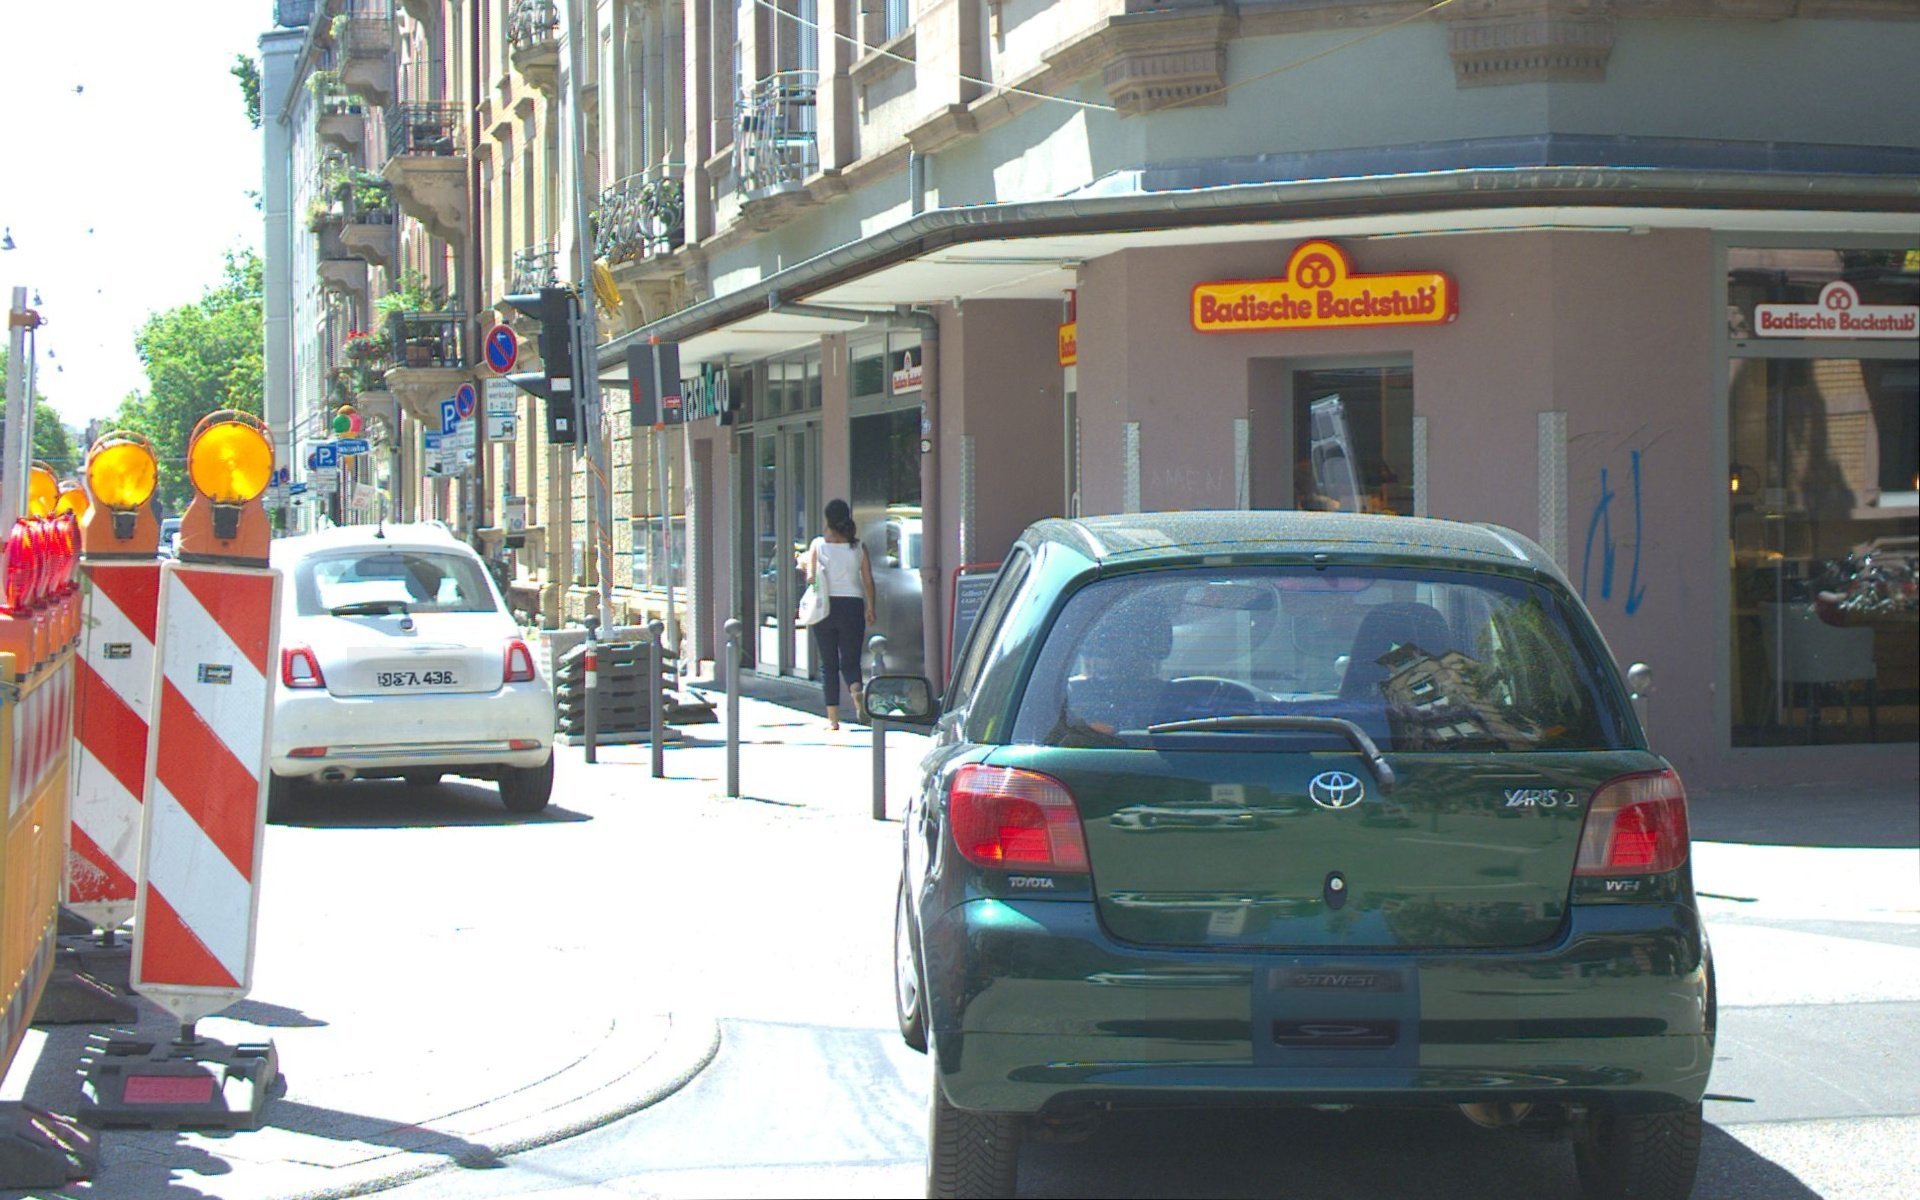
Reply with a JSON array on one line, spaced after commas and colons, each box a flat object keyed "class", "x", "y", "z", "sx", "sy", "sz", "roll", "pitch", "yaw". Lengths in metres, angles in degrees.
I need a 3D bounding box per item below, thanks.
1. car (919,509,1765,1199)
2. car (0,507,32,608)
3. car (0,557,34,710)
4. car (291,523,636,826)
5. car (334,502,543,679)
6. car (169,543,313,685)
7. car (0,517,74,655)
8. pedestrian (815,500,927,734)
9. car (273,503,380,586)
[{"class": "car", "x": 0.718, "y": 0.532, "z": 8.238, "sx": 1.613, "sy": 1.480, "sz": 3.241, "roll": 1, "pitch": 2, "yaw": 0}, {"class": "car", "x": -22.711, "y": -0.918, "z": 74.541, "sx": 4.559, "sy": 2.180, "sz": 1.999, "roll": -1, "pitch": 1, "yaw": -40}, {"class": "car", "x": -10.291, "y": 0.311, "z": 34.426, "sx": 1.754, "sy": 1.439, "sz": 4.001, "roll": -1, "pitch": 1, "yaw": -12}, {"class": "car", "x": -2.823, "y": 0.335, "z": 19.082, "sx": 1.522, "sy": 1.516, "sz": 3.265, "roll": -1, "pitch": 1, "yaw": -15}, {"class": "car", "x": -5.632, "y": -0.135, "z": 36.733, "sx": 1.871, "sy": 1.707, "sz": 4.505, "roll": -2, "pitch": 1, "yaw": -12}, {"class": "car", "x": -8.613, "y": 0.132, "z": 41.069, "sx": 1.522, "sy": 1.587, "sz": 3.265, "roll": -1, "pitch": 1, "yaw": -14}, {"class": "car", "x": -12.300, "y": -0.174, "z": 43.744, "sx": 1.754, "sy": 1.639, "sz": 4.379, "roll": -4, "pitch": 2, "yaw": -12}, {"class": "pedestrian", "x": -0.634, "y": 0.108, "z": 24.309, "sx": 0.641, "sy": 1.618, "sz": 0.804, "roll": -1, "pitch": 1, "yaw": -13}, {"class": "car", "x": -11.544, "y": -1.012, "z": 62.506, "sx": 1.754, "sy": 1.424, "sz": 4.001, "roll": -1, "pitch": 1, "yaw": -12}]
